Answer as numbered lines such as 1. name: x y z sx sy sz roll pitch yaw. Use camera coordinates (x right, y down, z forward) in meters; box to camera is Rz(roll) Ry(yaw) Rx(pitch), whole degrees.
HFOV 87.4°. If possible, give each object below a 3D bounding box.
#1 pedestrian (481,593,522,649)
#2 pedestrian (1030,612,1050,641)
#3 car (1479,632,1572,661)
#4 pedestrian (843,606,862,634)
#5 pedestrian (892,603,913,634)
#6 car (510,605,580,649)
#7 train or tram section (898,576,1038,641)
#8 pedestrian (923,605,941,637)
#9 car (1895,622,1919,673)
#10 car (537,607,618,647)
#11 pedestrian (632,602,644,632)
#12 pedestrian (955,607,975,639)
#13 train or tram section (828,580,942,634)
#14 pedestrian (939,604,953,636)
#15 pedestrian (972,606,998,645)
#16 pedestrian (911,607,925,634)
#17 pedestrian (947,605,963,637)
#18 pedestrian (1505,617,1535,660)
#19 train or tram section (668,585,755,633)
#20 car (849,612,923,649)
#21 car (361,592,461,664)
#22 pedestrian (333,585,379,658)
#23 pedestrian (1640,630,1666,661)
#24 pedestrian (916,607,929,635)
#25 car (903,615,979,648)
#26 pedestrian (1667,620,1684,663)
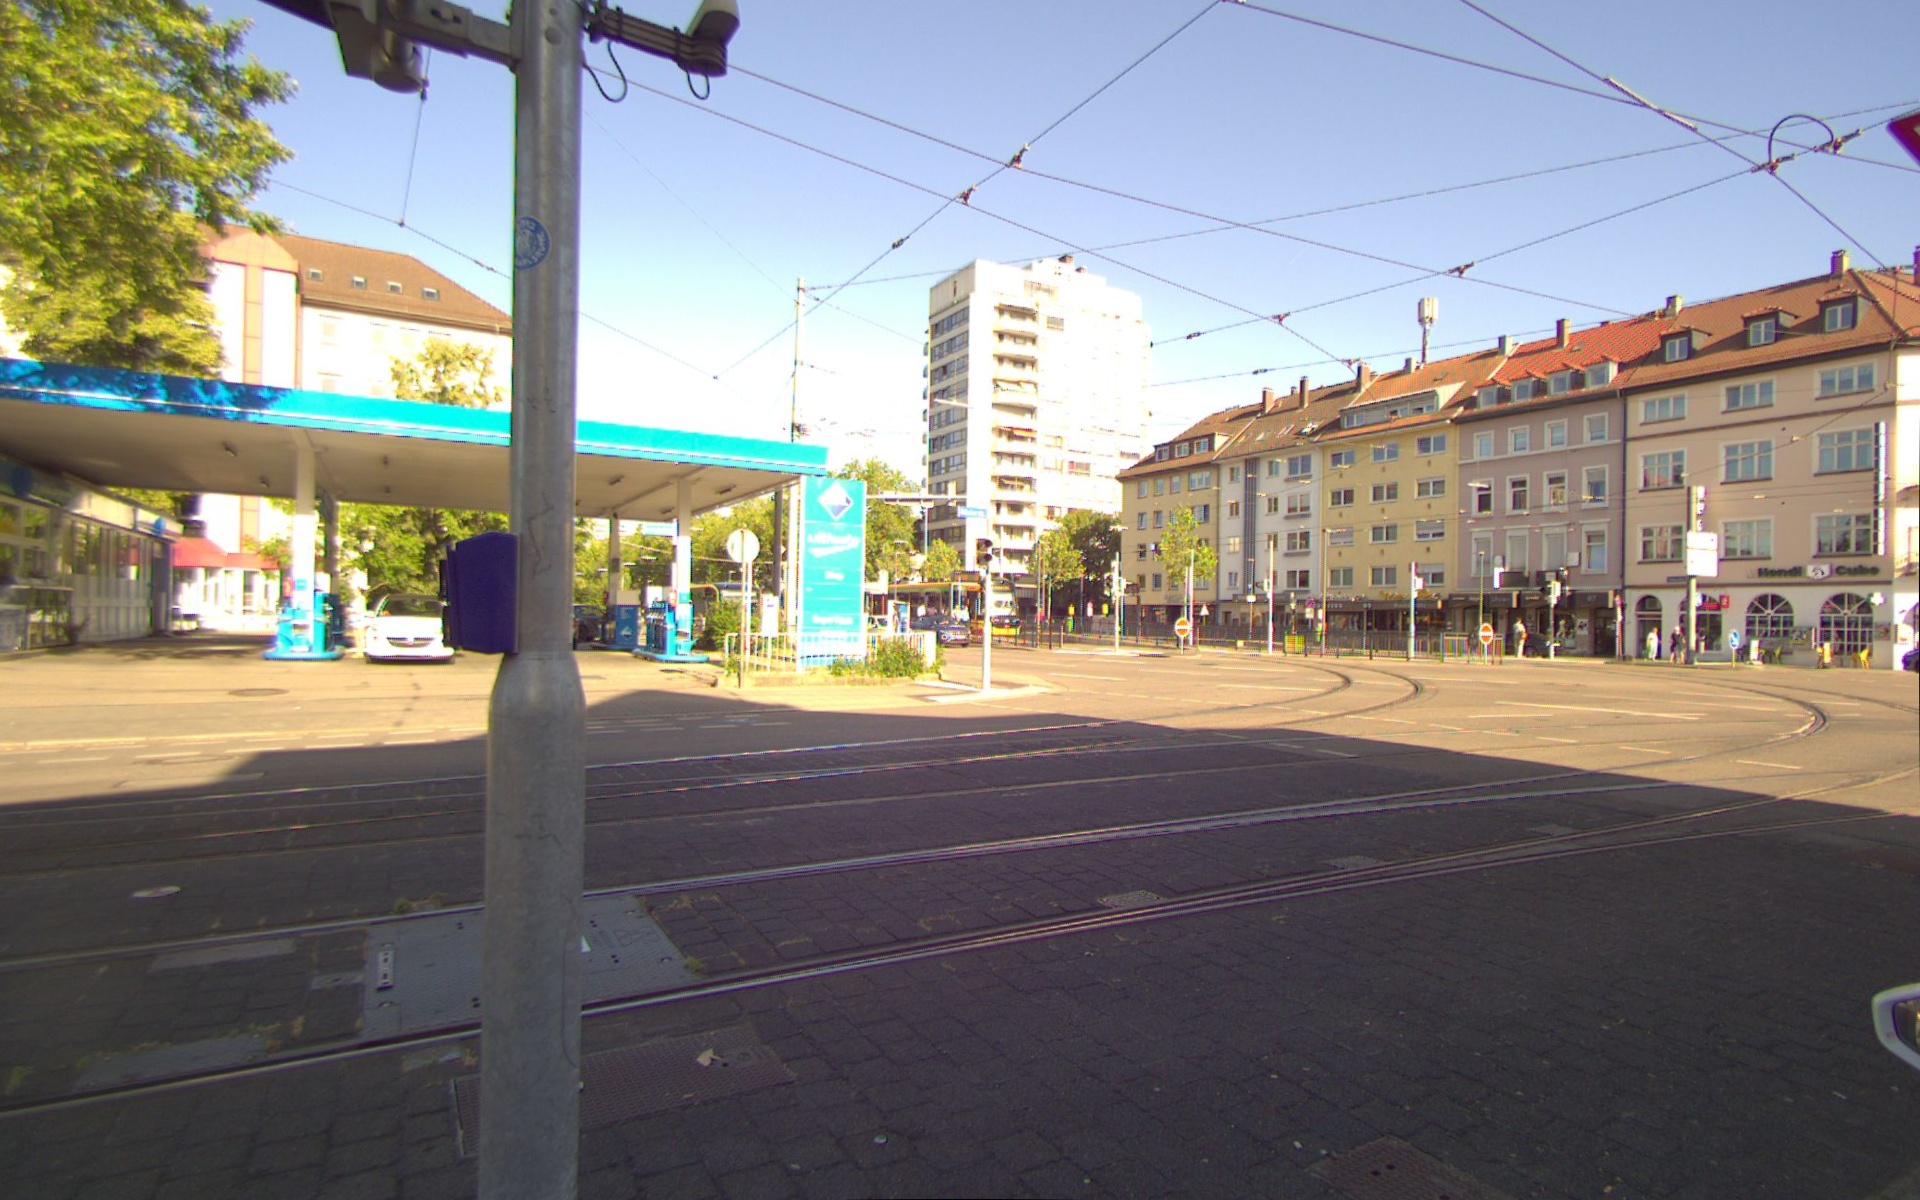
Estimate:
1. pedestrian: -15.364 0.694 33.692 0.896 1.826 0.893 0 -1 34
2. pedestrian: 5.879 1.934 73.608 0.942 2.040 1.214 1 -1 -25
3. car: 30.776 2.495 54.714 1.980 1.483 3.962 1 -1 -34
4. pedestrian: -6.914 1.302 64.867 0.902 1.826 0.887 1 -1 -33
5. pedestrian: -3.357 1.094 59.059 0.902 1.826 0.887 1 -1 -33
6. car: -13.502 0.863 32.578 1.752 1.332 3.520 1 -1 -28
7. train or tram section: 0.231 0.516 58.964 3.252 3.459 10.157 1 -1 -33
8. pedestrian: -1.561 1.164 55.616 0.773 1.721 0.692 1 -1 -33
9. car: 34.073 1.619 33.063 1.976 1.694 4.489 1 -1 -30
10. car: -17.203 1.211 45.383 1.960 1.685 4.001 1 -1 2
11. pedestrian: -21.551 1.141 67.199 0.676 2.040 0.854 1 -1 -20
12. pedestrian: 0.250 1.204 52.597 0.791 1.646 0.706 1 -1 -33
13. train or tram section: -5.250 0.519 67.582 3.252 3.335 10.157 1 -1 -33
14. pedestrian: -0.769 1.110 54.799 0.491 1.721 0.553 1 -1 -33
15. pedestrian: 1.190 1.221 48.427 0.902 1.826 0.887 1 -1 -33
16. pedestrian: -2.506 1.218 59.860 0.501 1.646 0.604 0 -1 37
17. pedestrian: -0.255 1.121 53.903 0.549 1.721 0.740 1 -1 -33
18. pedestrian: 24.496 1.694 43.955 0.801 1.842 0.871 1 -1 -29
19. train or tram section: -15.030 0.450 60.040 2.233 2.627 10.398 2 0 -30
20. car: -3.506 1.393 46.807 1.976 1.615 3.970 1 -1 -29
21. car: -12.272 0.606 22.434 1.773 1.461 3.968 2 -1 -30
22. pedestrian: -13.935 0.503 23.195 0.801 1.652 0.643 1 -1 -24
23. pedestrian: 35.471 2.328 51.396 0.849 1.547 0.786 1 -1 -29
24. pedestrian: -2.224 1.225 59.598 0.507 1.646 0.665 0 -1 36
25. car: -0.958 1.491 48.349 1.937 1.475 4.077 1 0 -30
26. pedestrian: 34.211 1.983 48.020 0.498 2.040 0.507 1 -1 -27
